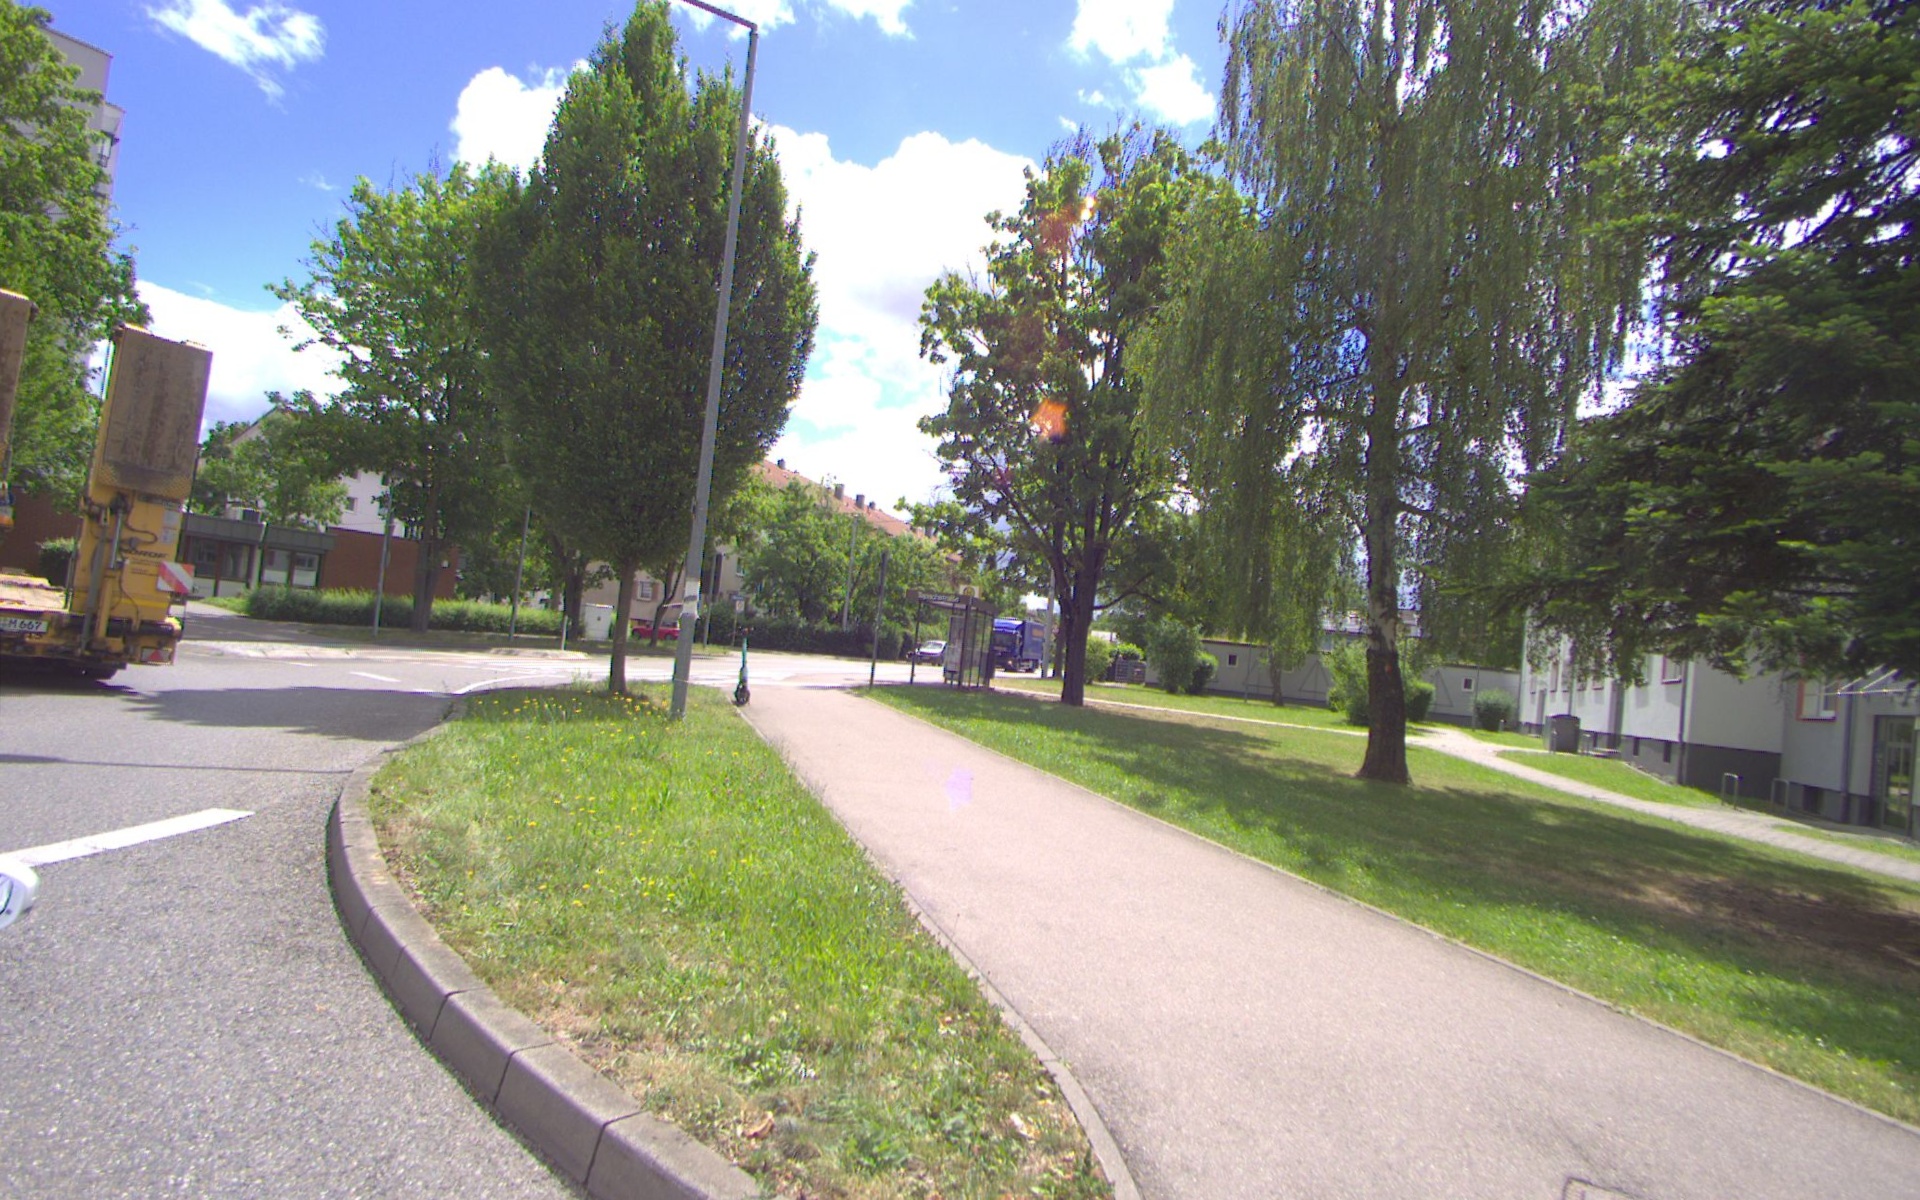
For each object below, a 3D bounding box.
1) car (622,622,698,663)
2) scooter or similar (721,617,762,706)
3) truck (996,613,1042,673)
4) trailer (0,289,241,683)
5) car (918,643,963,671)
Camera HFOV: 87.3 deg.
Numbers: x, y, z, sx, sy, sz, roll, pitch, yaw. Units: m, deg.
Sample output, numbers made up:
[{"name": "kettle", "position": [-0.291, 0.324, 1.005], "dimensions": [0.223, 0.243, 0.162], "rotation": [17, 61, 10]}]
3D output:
[{"name": "car", "position": [-18.442, 2.624, 61.896], "dimensions": [3.926, 1.962, 2.021], "rotation": [5, -4, 21]}, {"name": "scooter or similar", "position": [-3.636, 0.990, 16.682], "dimensions": [0.478, 1.359, 1.384], "rotation": [5, -1, -16]}, {"name": "truck", "position": [4.749, 3.518, 79.402], "dimensions": [2.736, 4.198, 9.815], "rotation": [5, -3, 7]}, {"name": "trailer", "position": [-12.602, -1.190, 12.635], "dimensions": [10.690, 3.408, 2.864], "rotation": [2, -5, 40]}, {"name": "car", "position": [-1.335, 4.044, 71.475], "dimensions": [1.962, 1.569, 4.008], "rotation": [6, -4, 17]}]
